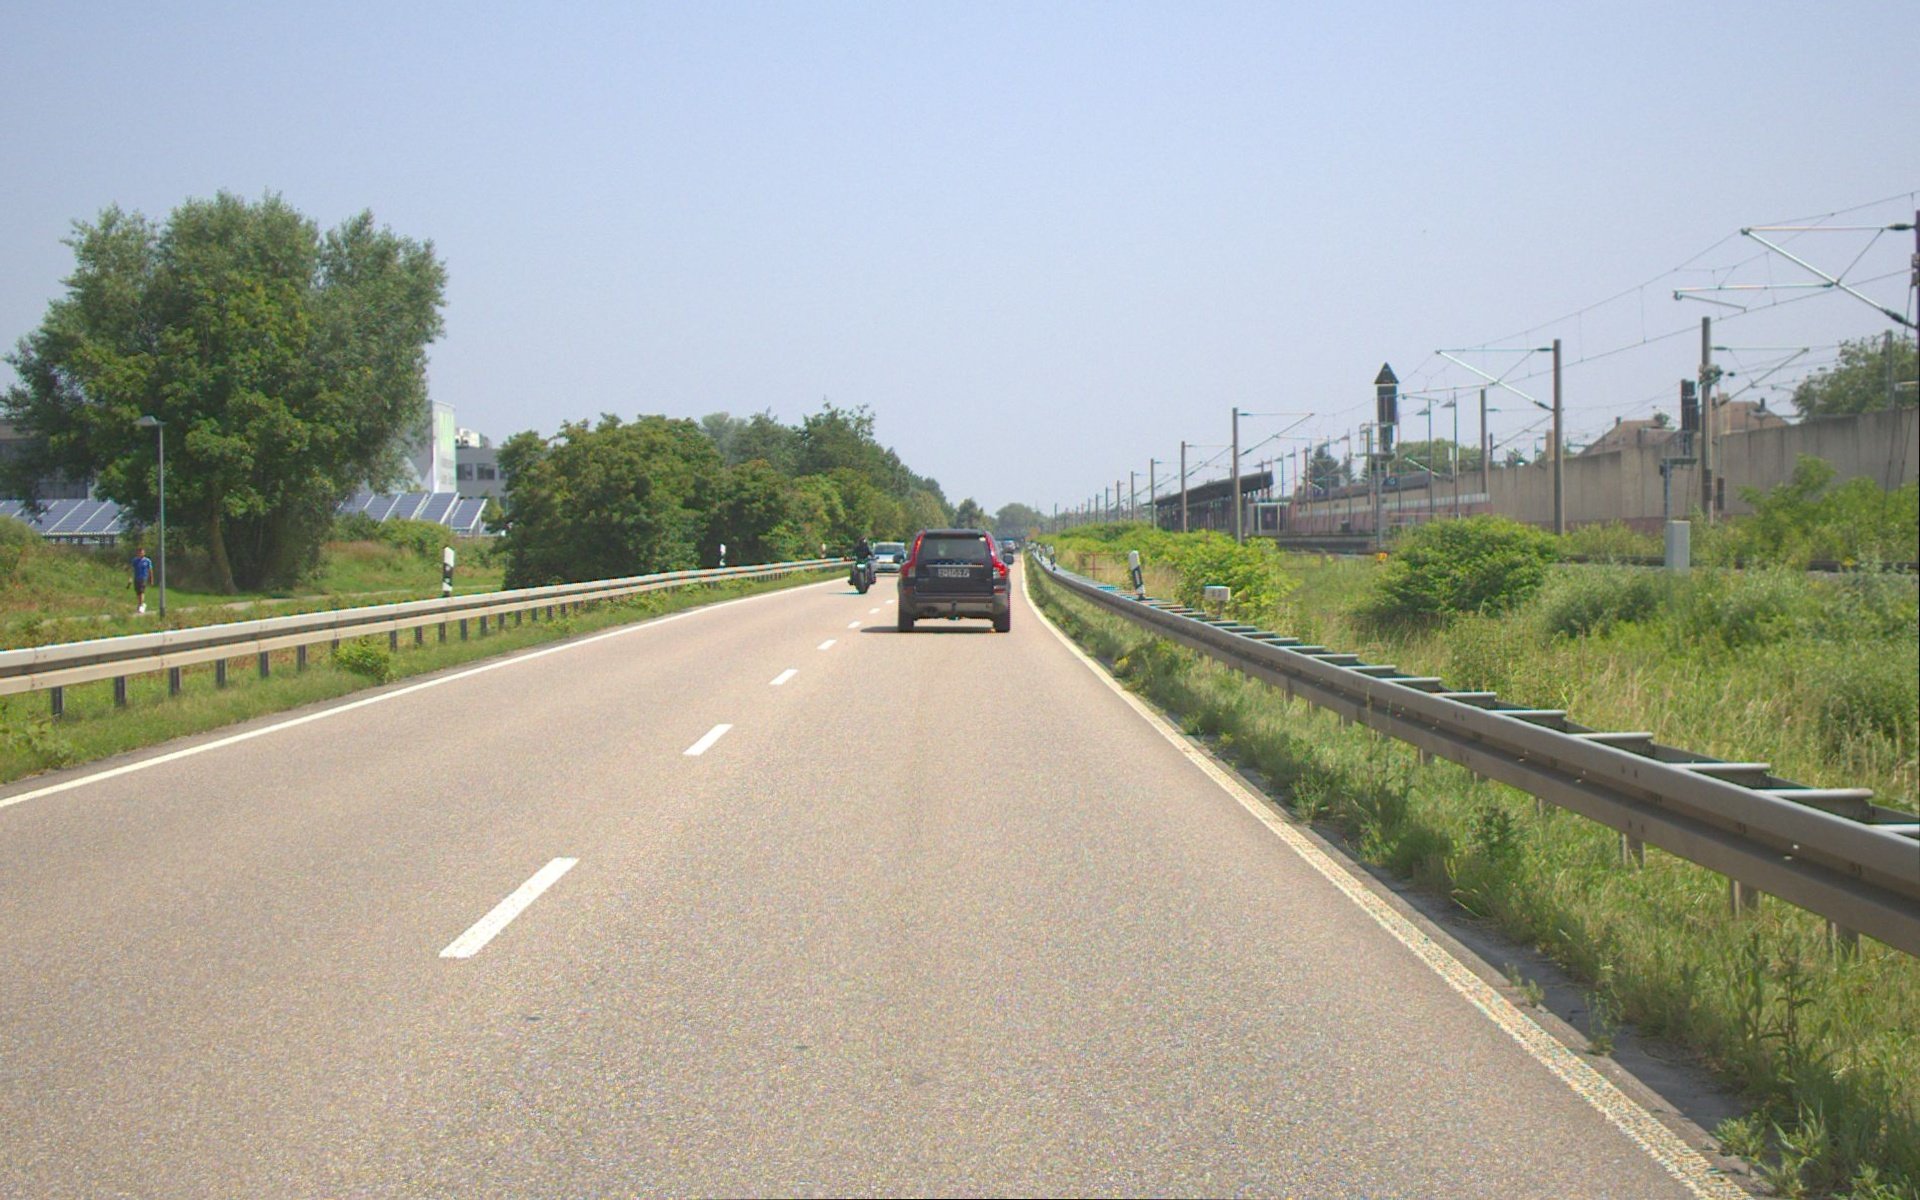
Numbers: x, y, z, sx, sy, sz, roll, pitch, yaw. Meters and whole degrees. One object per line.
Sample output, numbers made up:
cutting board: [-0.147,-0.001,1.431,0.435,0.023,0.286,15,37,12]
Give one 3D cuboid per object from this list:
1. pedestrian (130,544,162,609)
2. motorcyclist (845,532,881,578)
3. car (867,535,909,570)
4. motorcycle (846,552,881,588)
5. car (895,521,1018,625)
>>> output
pedestrian: [-22.365,-0.646,94.480,0.579,1.744,0.820,-2,1,5]
motorcyclist: [-2.792,-1.312,99.428,0.993,1.305,0.935,1,1,0]
car: [-3.124,-2.072,150.045,1.698,1.469,4.686,1,1,0]
motorcycle: [-2.794,-0.875,99.457,0.928,1.024,2.268,1,1,0]
car: [-0.088,-0.469,58.246,1.993,1.694,4.000,0,1,-1]
